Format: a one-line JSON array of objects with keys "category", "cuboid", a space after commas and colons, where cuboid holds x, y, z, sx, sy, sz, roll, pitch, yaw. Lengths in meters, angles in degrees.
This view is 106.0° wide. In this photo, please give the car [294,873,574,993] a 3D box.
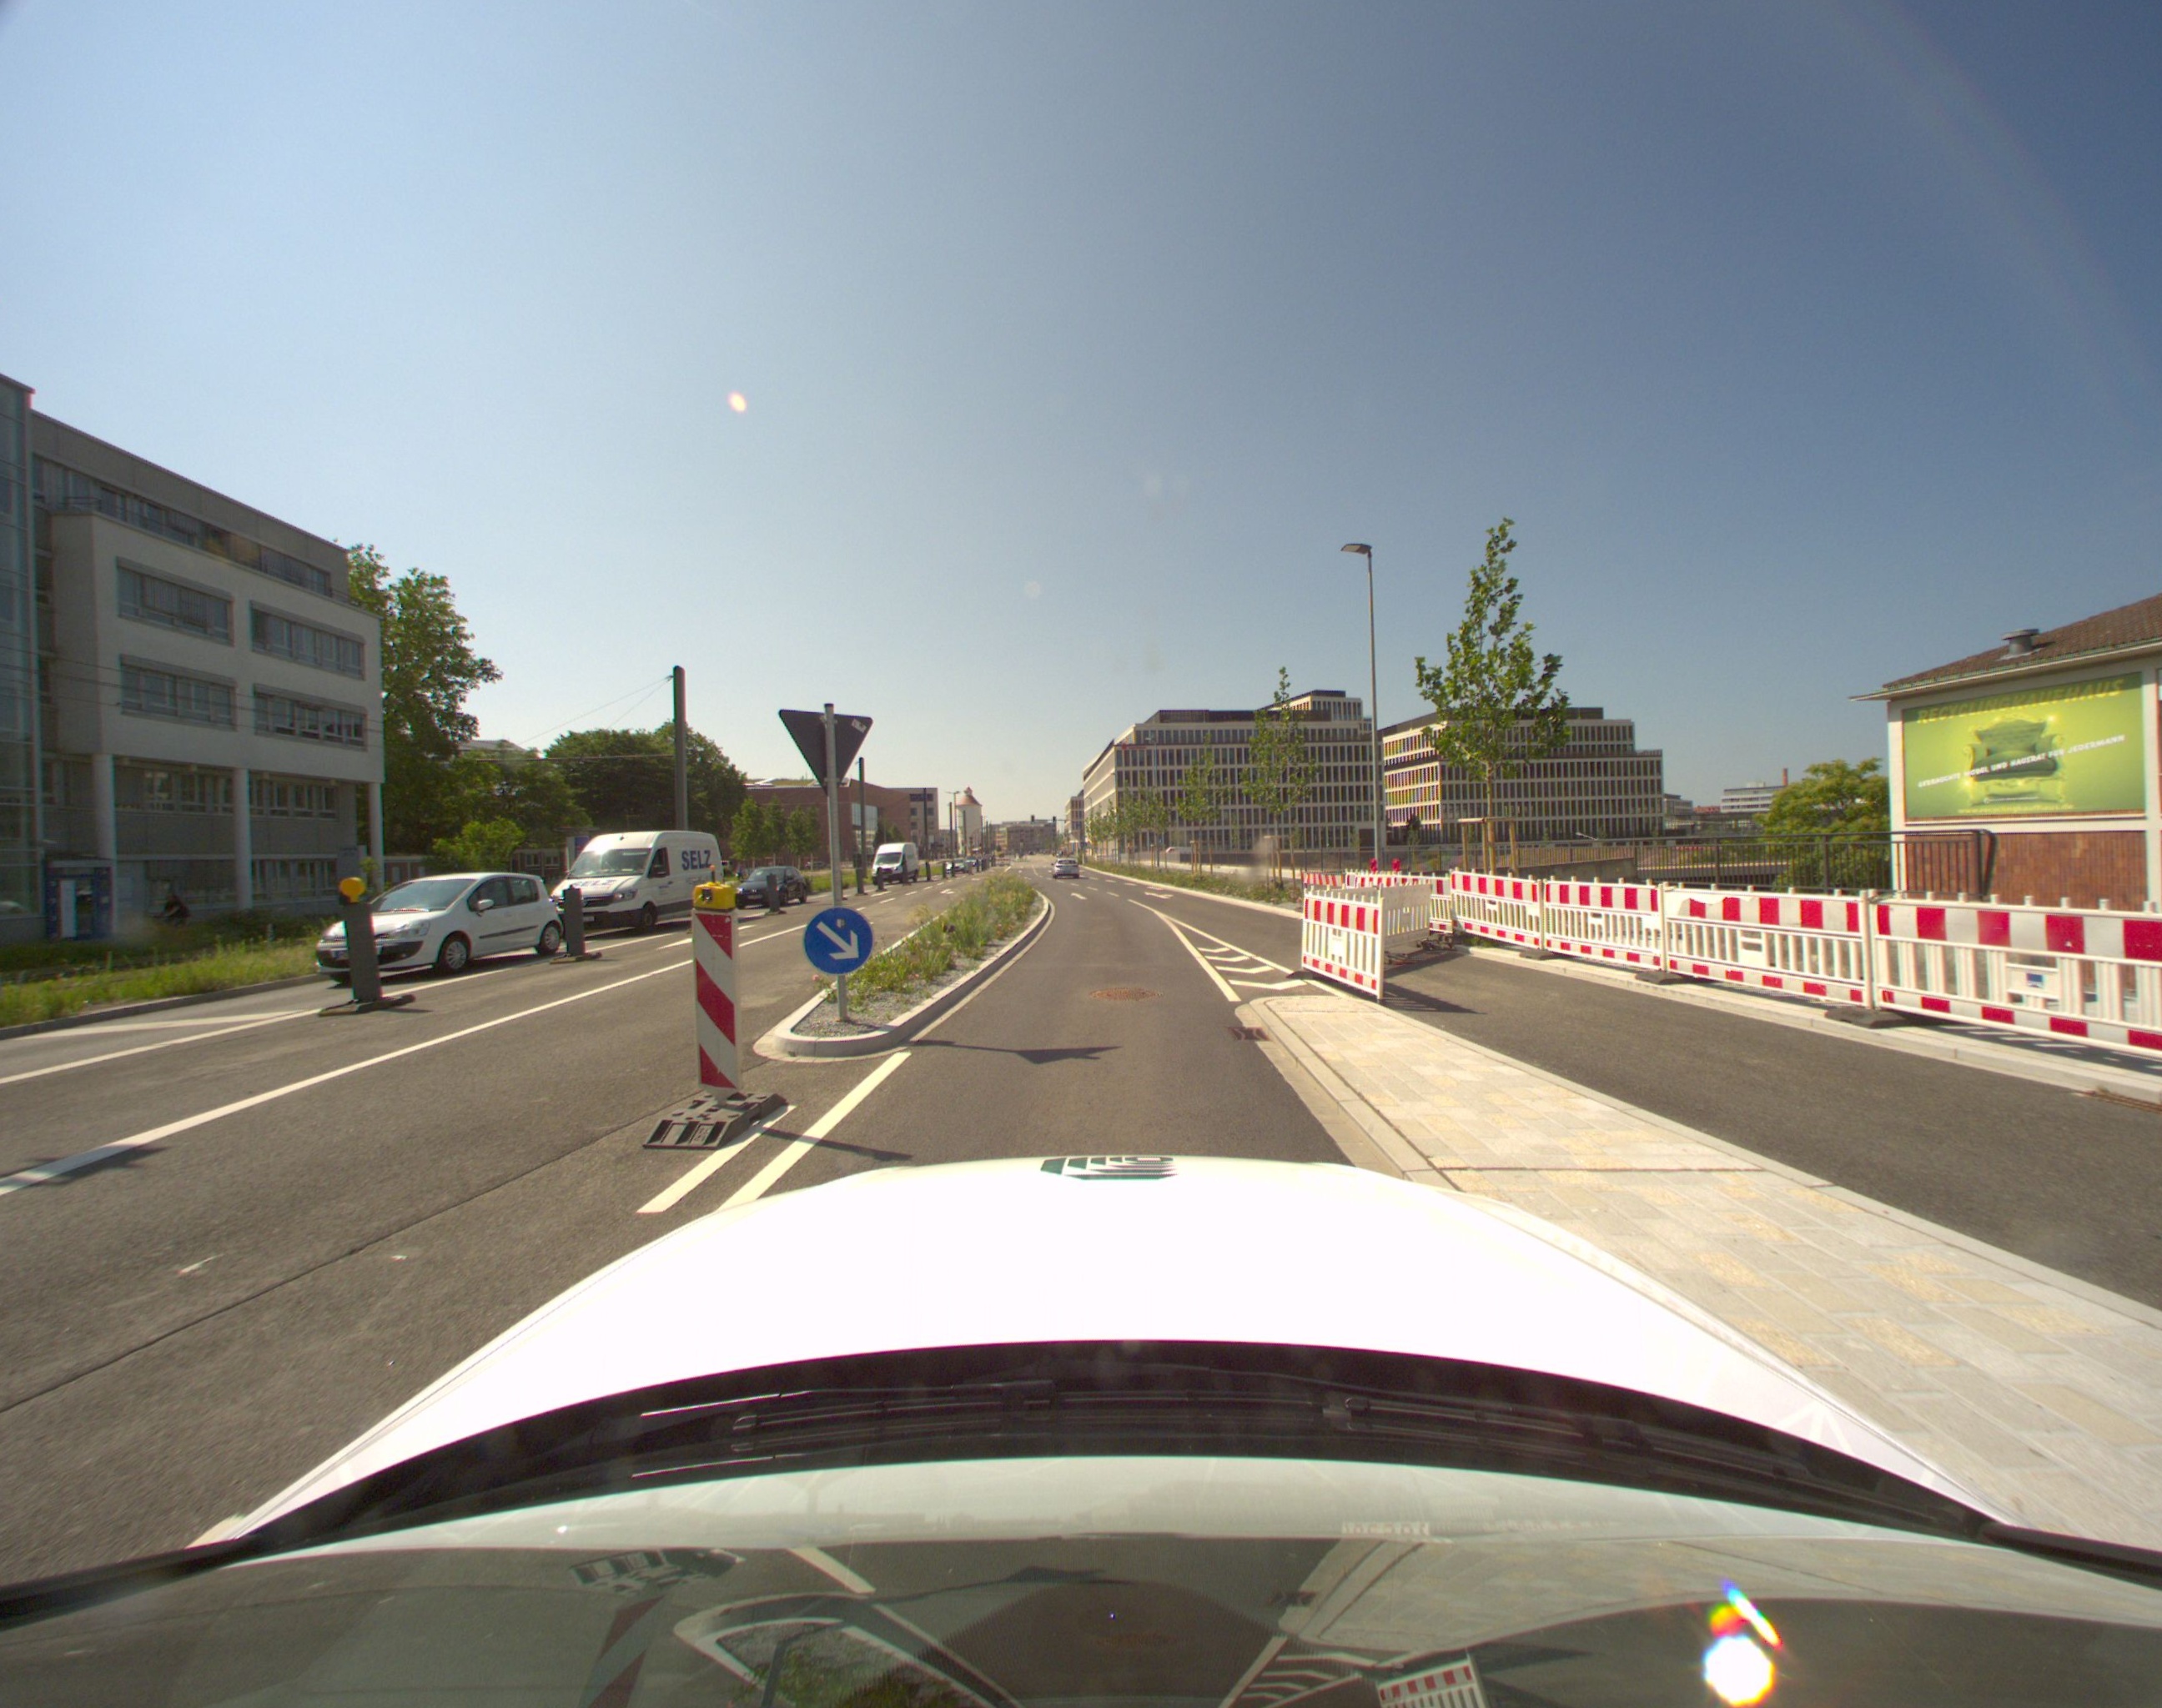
[{"category": "car", "cuboid": [-10.452, 1.174, 13.596, 1.577, 1.541, 3.972, -4, 0, -3]}]

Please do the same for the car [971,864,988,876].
[{"category": "car", "cuboid": [-13.598, 2.131, 109.241, 1.575, 1.416, 4.296, -2, -1, 1]}]

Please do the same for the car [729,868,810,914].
[{"category": "car", "cuboid": [-11.515, 1.328, 30.392, 1.542, 1.457, 4.187, -4, 0, -3]}]

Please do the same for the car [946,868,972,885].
[{"category": "car", "cuboid": [-11.696, 2.136, 78.529, 1.668, 1.443, 4.469, -3, -1, 1]}]

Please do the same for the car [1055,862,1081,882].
[{"category": "car", "cuboid": [-0.944, 1.295, 58.287, 1.767, 1.395, 3.528, 0, -1, -2]}]

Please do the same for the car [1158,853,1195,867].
[{"category": "car", "cuboid": [16.085, 1.078, 137.177, 5.825, 2.270, 2.143, 1, 0, -4]}]

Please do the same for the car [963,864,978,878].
[{"category": "car", "cuboid": [-13.288, 2.073, 98.187, 1.578, 1.530, 3.612, -4, -1, -7]}]

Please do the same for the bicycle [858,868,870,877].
[{"category": "bicycle", "cuboid": [-37.916, 3.251, 142.180, 2.054, 1.453, 0.537, -1, 0, -15]}]

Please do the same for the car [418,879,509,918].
[{"category": "car", "cuboid": [-37.438, 2.703, 49.348, 5.015, 2.179, 2.125, -2, -1, 23]}]

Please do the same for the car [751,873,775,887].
[{"category": "car", "cuboid": [-40.347, 3.263, 103.504, 1.694, 1.761, 3.934, -1, -1, -3]}]

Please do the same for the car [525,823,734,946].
[{"category": "car", "cuboid": [-11.294, 0.716, 21.100, 2.026, 2.578, 6.188, -4, -1, -2]}]

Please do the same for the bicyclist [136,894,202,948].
[{"category": "bicyclist", "cuboid": [-27.511, 2.016, 24.586, 0.752, 1.539, 1.076, -1, -1, -3]}]

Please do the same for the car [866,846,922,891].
[{"category": "car", "cuboid": [-12.590, 0.929, 55.275, 2.069, 2.740, 5.989, -3, 0, 2]}]

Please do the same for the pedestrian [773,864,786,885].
[{"category": "pedestrian", "cuboid": [-29.960, 2.019, 80.964, 0.980, 2.014, 0.909, 0, -1, -2]}]

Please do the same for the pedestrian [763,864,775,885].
[{"category": "pedestrian", "cuboid": [-31.039, 2.022, 80.947, 0.837, 2.014, 0.983, -1, 0, -1]}]

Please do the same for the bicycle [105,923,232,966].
[{"category": "bicycle", "cuboid": [-27.508, 2.713, 24.654, 0.752, 1.018, 2.828, -1, -1, -3]}]
